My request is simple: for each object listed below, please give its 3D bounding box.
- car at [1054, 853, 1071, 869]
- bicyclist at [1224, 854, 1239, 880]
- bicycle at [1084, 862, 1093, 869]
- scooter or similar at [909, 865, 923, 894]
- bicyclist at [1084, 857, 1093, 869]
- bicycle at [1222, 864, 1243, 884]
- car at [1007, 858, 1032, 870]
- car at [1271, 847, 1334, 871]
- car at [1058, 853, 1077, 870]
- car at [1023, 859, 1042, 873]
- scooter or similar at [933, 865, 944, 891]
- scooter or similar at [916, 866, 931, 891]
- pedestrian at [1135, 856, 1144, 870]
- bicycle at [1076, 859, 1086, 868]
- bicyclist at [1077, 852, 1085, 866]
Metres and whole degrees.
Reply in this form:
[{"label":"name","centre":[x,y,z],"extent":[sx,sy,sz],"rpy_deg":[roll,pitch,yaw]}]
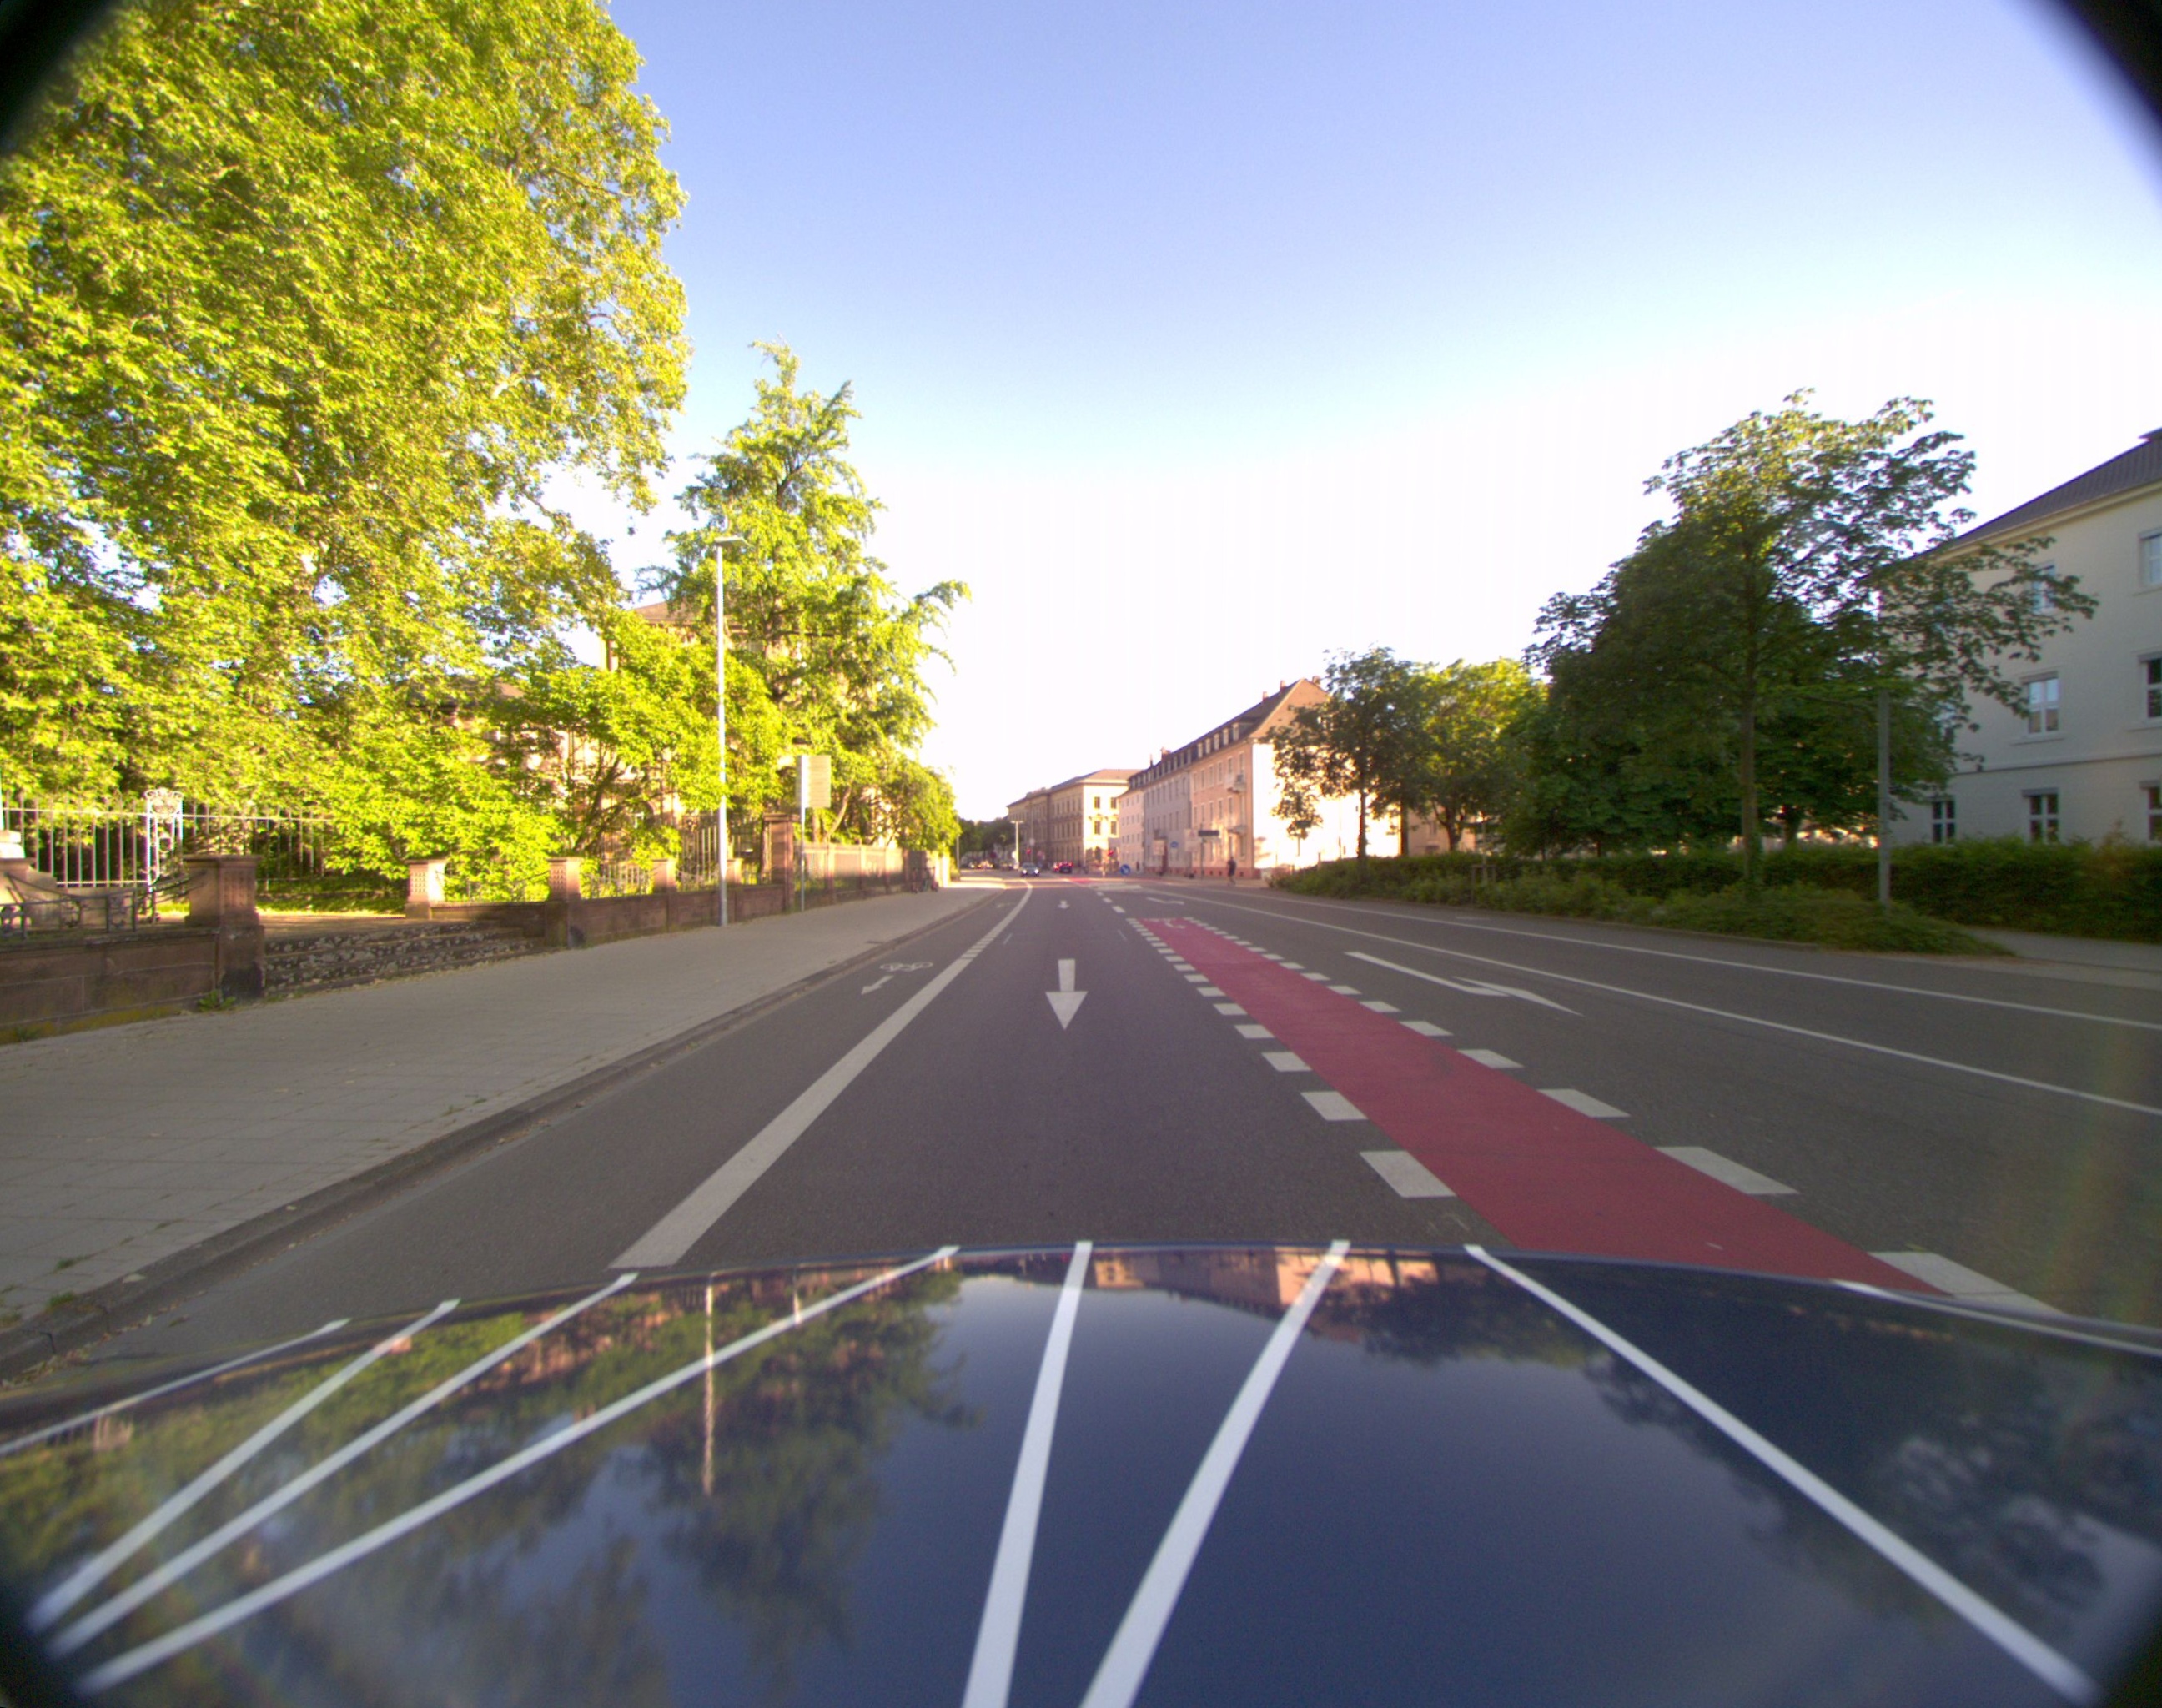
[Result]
[{"label":"car","centre":[-2.528,0.941,101.919],"extent":[1.999,2.002,3.998],"rpy_deg":[0,0,-5]},{"label":"bicyclist","centre":[9.146,0.758,46.116],"extent":[0.691,1.553,0.838],"rpy_deg":[1,0,-3]},{"label":"bicycle","centre":[0.905,1.436,94.512],"extent":[0.663,0.907,2.861],"rpy_deg":[0,0,-9]},{"label":"scooter or similar","centre":[-7.547,1.158,34.725],"extent":[0.576,1.246,1.486],"rpy_deg":[0,0,-15]},{"label":"bicyclist","centre":[0.912,1.069,94.479],"extent":[1.026,1.481,0.870],"rpy_deg":[0,0,-9]},{"label":"bicycle","centre":[9.142,1.211,46.041],"extent":[0.697,1.152,2.245],"rpy_deg":[1,0,-3]},{"label":"car","centre":[-10.788,1.726,133.121],"extent":[2.004,2.093,4.503],"rpy_deg":[0,0,-42]},{"label":"car","centre":[16.679,0.378,57.300],"extent":[4.000,1.652,1.998],"rpy_deg":[-2,1,-9]},{"label":"car","centre":[-1.722,0.937,95.969],"extent":[1.999,2.002,3.998],"rpy_deg":[0,0,-5]},{"label":"car","centre":[-5.083,1.259,79.152],"extent":[1.710,1.397,4.262],"rpy_deg":[0,0,-6]},{"label":"scooter or similar","centre":[-7.087,1.164,37.659],"extent":[0.517,1.233,1.521],"rpy_deg":[0,0,-11]},{"label":"scooter or similar","centre":[-7.560,1.174,36.577],"extent":[0.576,1.177,1.487],"rpy_deg":[0,0,-7]},{"label":"pedestrian","centre":[7.783,1.212,101.234],"extent":[0.949,1.894,1.062],"rpy_deg":[-2,1,-7]},{"label":"bicycle","centre":[0.001,1.366,105.028],"extent":[0.956,1.216,2.777],"rpy_deg":[0,0,-9]},{"label":"bicyclist","centre":[-0.017,0.674,105.140],"extent":[0.956,2.002,1.307],"rpy_deg":[0,0,-9]}]
